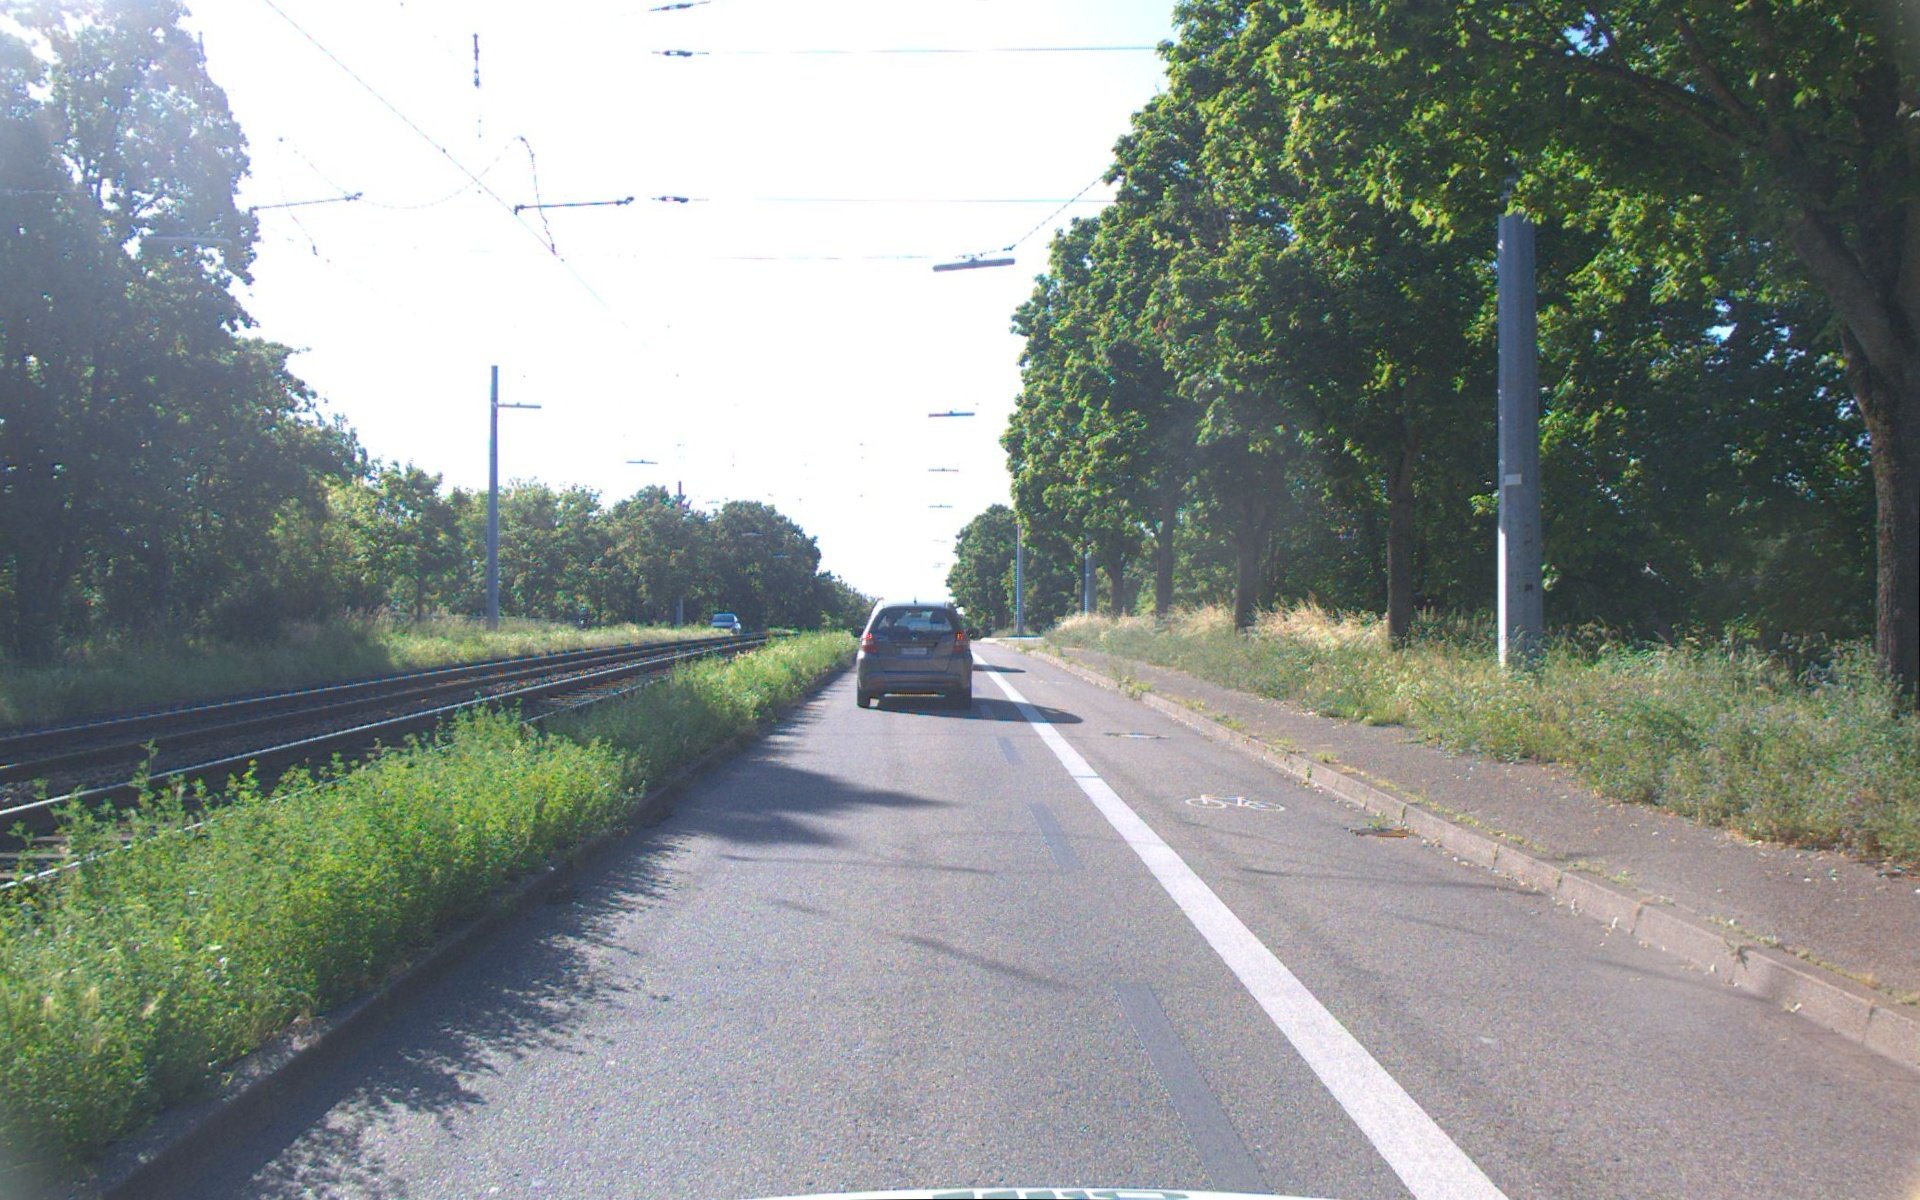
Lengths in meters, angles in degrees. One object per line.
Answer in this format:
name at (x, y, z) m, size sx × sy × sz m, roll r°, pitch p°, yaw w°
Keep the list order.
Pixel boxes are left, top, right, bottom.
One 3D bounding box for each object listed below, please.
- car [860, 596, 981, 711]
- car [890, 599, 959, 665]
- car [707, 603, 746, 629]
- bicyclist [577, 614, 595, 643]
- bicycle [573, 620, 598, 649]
car at (-0.555, 0.741, 24.668) m, size 1.636 × 1.534 × 3.810 m, roll 1°, pitch 0°, yaw -1°
car at (-0.856, 0.757, 41.208) m, size 1.621 × 1.534 × 3.810 m, roll 1°, pitch 0°, yaw -1°
car at (-14.554, 0.999, 103.327) m, size 1.772 × 1.515 × 4.406 m, roll 1°, pitch 0°, yaw 0°
bicyclist at (-17.173, 1.301, 76.011) m, size 0.570 × 1.333 × 0.987 m, roll 1°, pitch 0°, yaw -1°
bicycle at (-17.180, 1.569, 75.901) m, size 0.578 × 1.283 × 2.426 m, roll 1°, pitch 0°, yaw -1°
